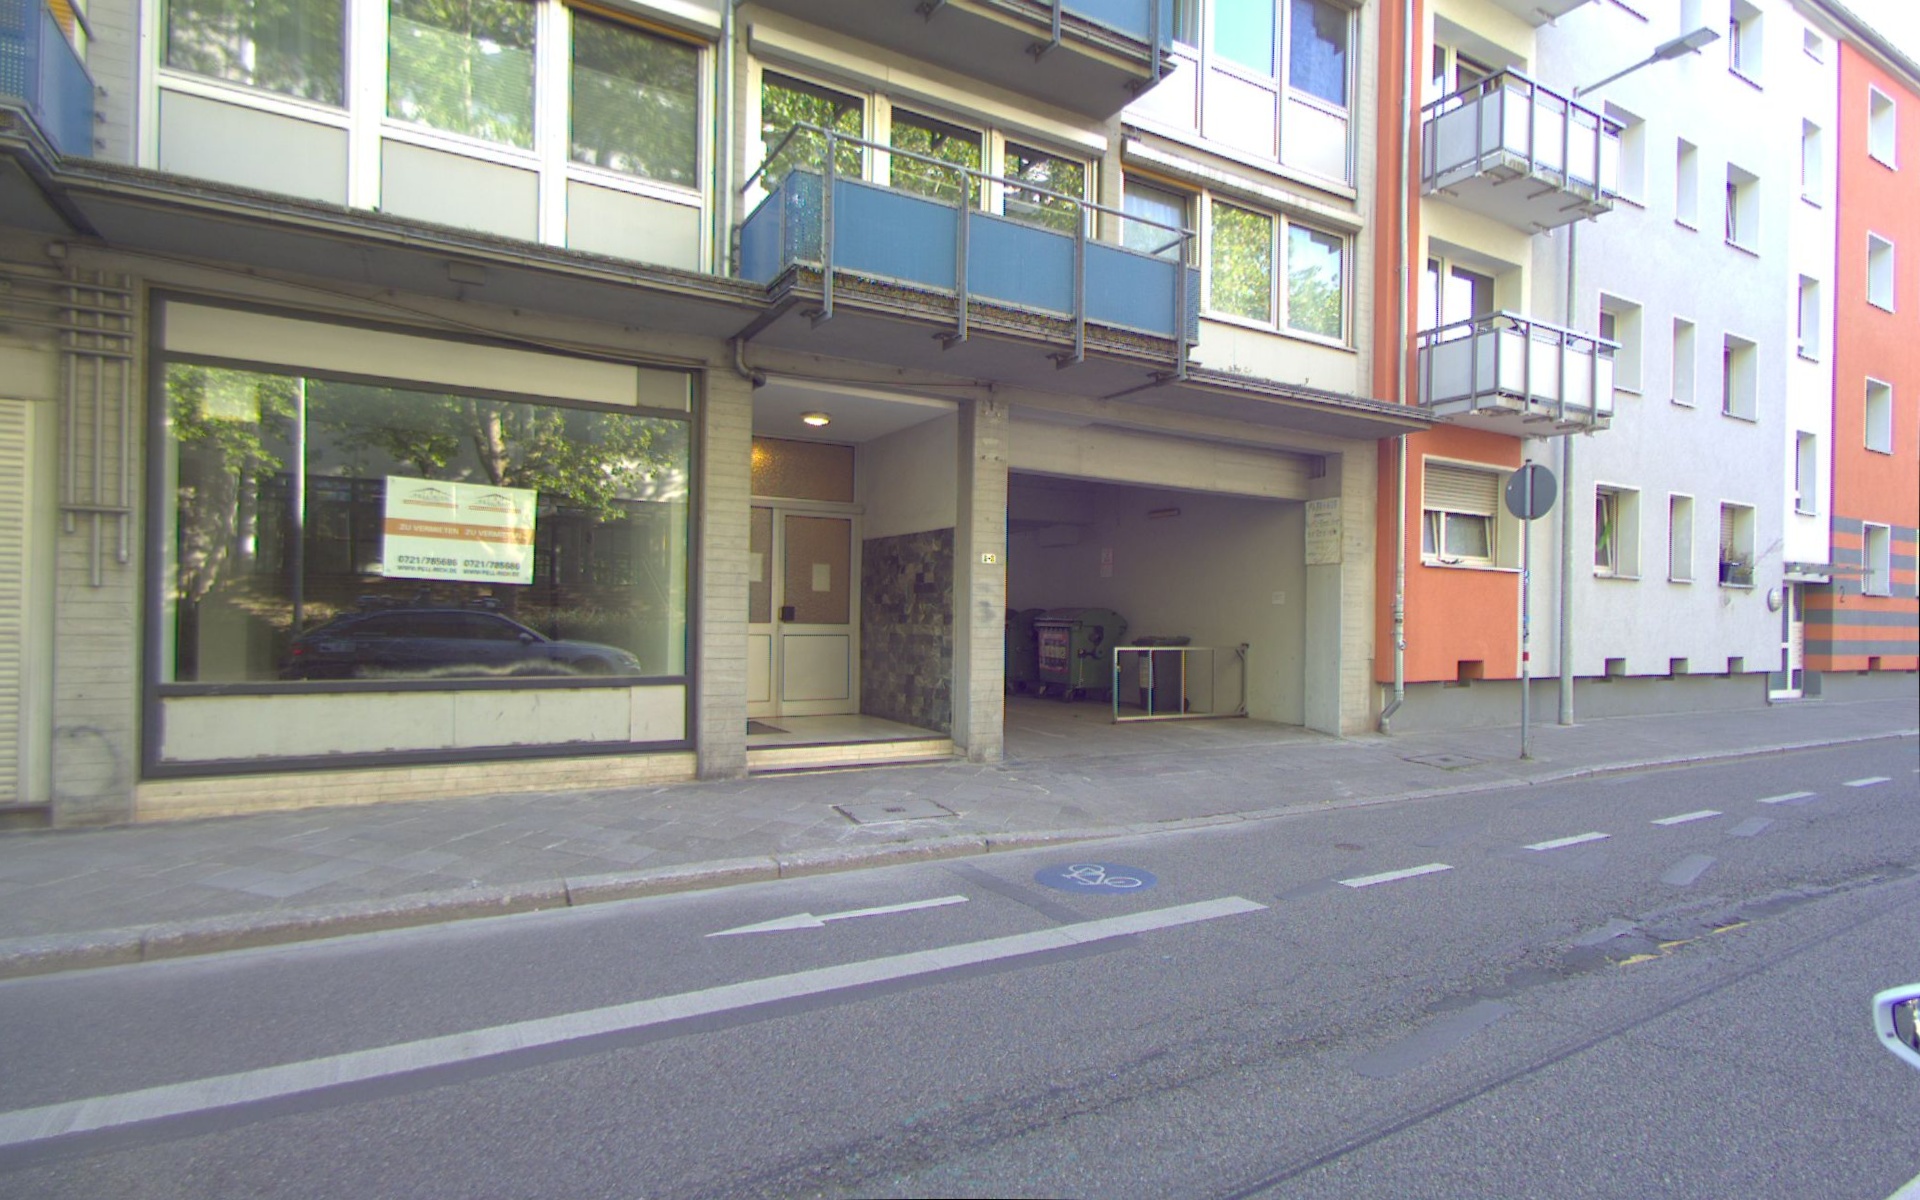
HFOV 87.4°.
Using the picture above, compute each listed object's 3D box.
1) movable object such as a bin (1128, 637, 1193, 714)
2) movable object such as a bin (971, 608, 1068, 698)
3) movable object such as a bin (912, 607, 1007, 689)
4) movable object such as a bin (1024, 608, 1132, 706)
[{"bbox_3d":[2.898,1.082,14.535,0.695,1.055,0.593,2,0,-30],"label":"movable object such as a bin"},{"bbox_3d":[0.997,0.876,17.177,1.119,1.449,1.322,1,0,-28],"label":"movable object such as a bin"},{"bbox_3d":[-0.031,0.874,18.879,1.119,1.449,1.666,1,-1,-28],"label":"movable object such as a bin"},{"bbox_3d":[1.848,0.869,15.854,1.128,1.449,1.342,1,0,-28],"label":"movable object such as a bin"}]
